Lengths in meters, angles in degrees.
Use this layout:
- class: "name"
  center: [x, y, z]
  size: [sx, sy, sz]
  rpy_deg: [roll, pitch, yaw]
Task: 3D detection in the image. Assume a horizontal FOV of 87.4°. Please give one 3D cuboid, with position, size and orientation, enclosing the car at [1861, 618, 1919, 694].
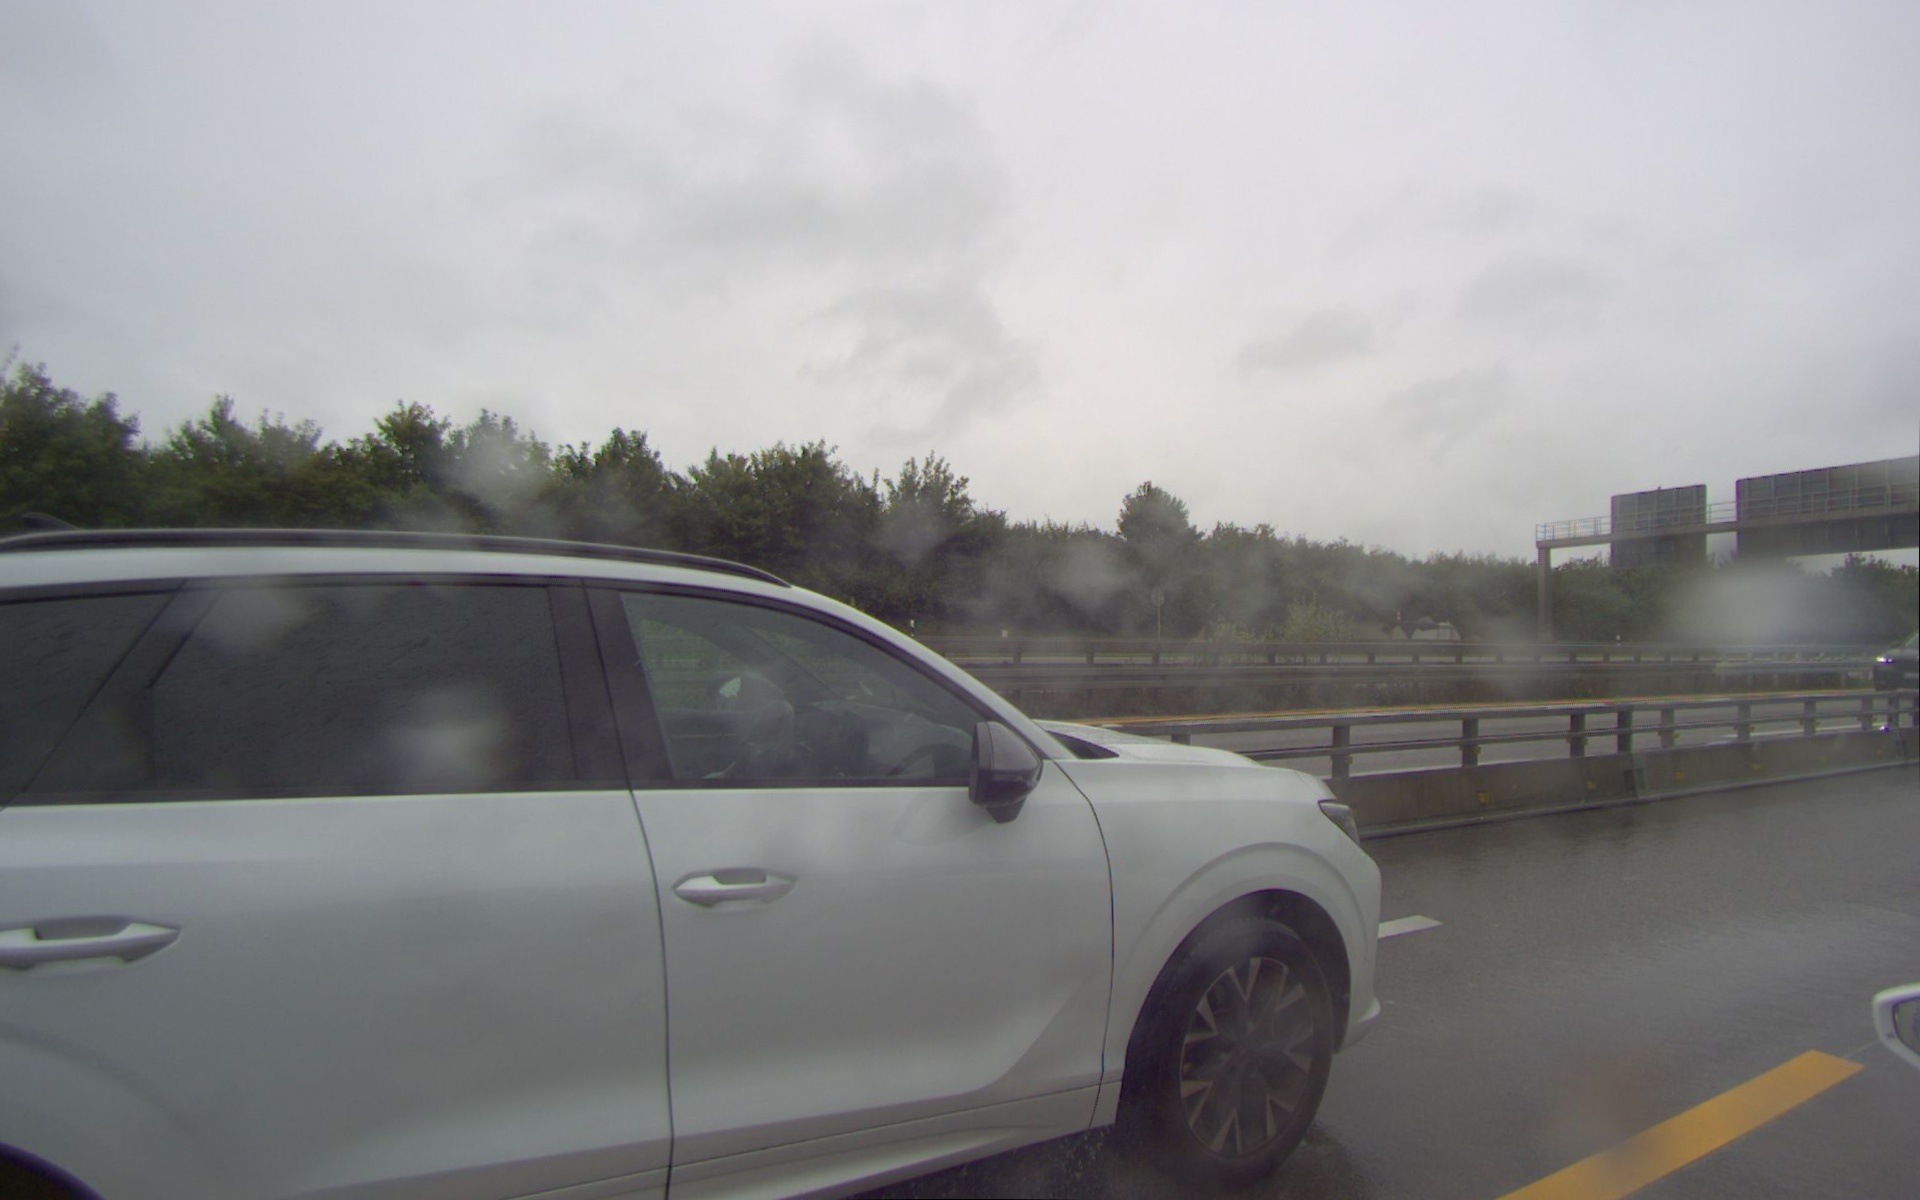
- class: "car"
  center: [24.515, 1.396, 24.781]
  size: [5.043, 1.740, 1.941]
  rpy_deg: [2, 0, -30]

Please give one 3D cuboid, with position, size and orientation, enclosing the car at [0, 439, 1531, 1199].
- class: "car"
  center: [-0.883, 0.629, 2.670]
  size: [4.738, 1.639, 1.985]
  rpy_deg: [2, 0, -29]
